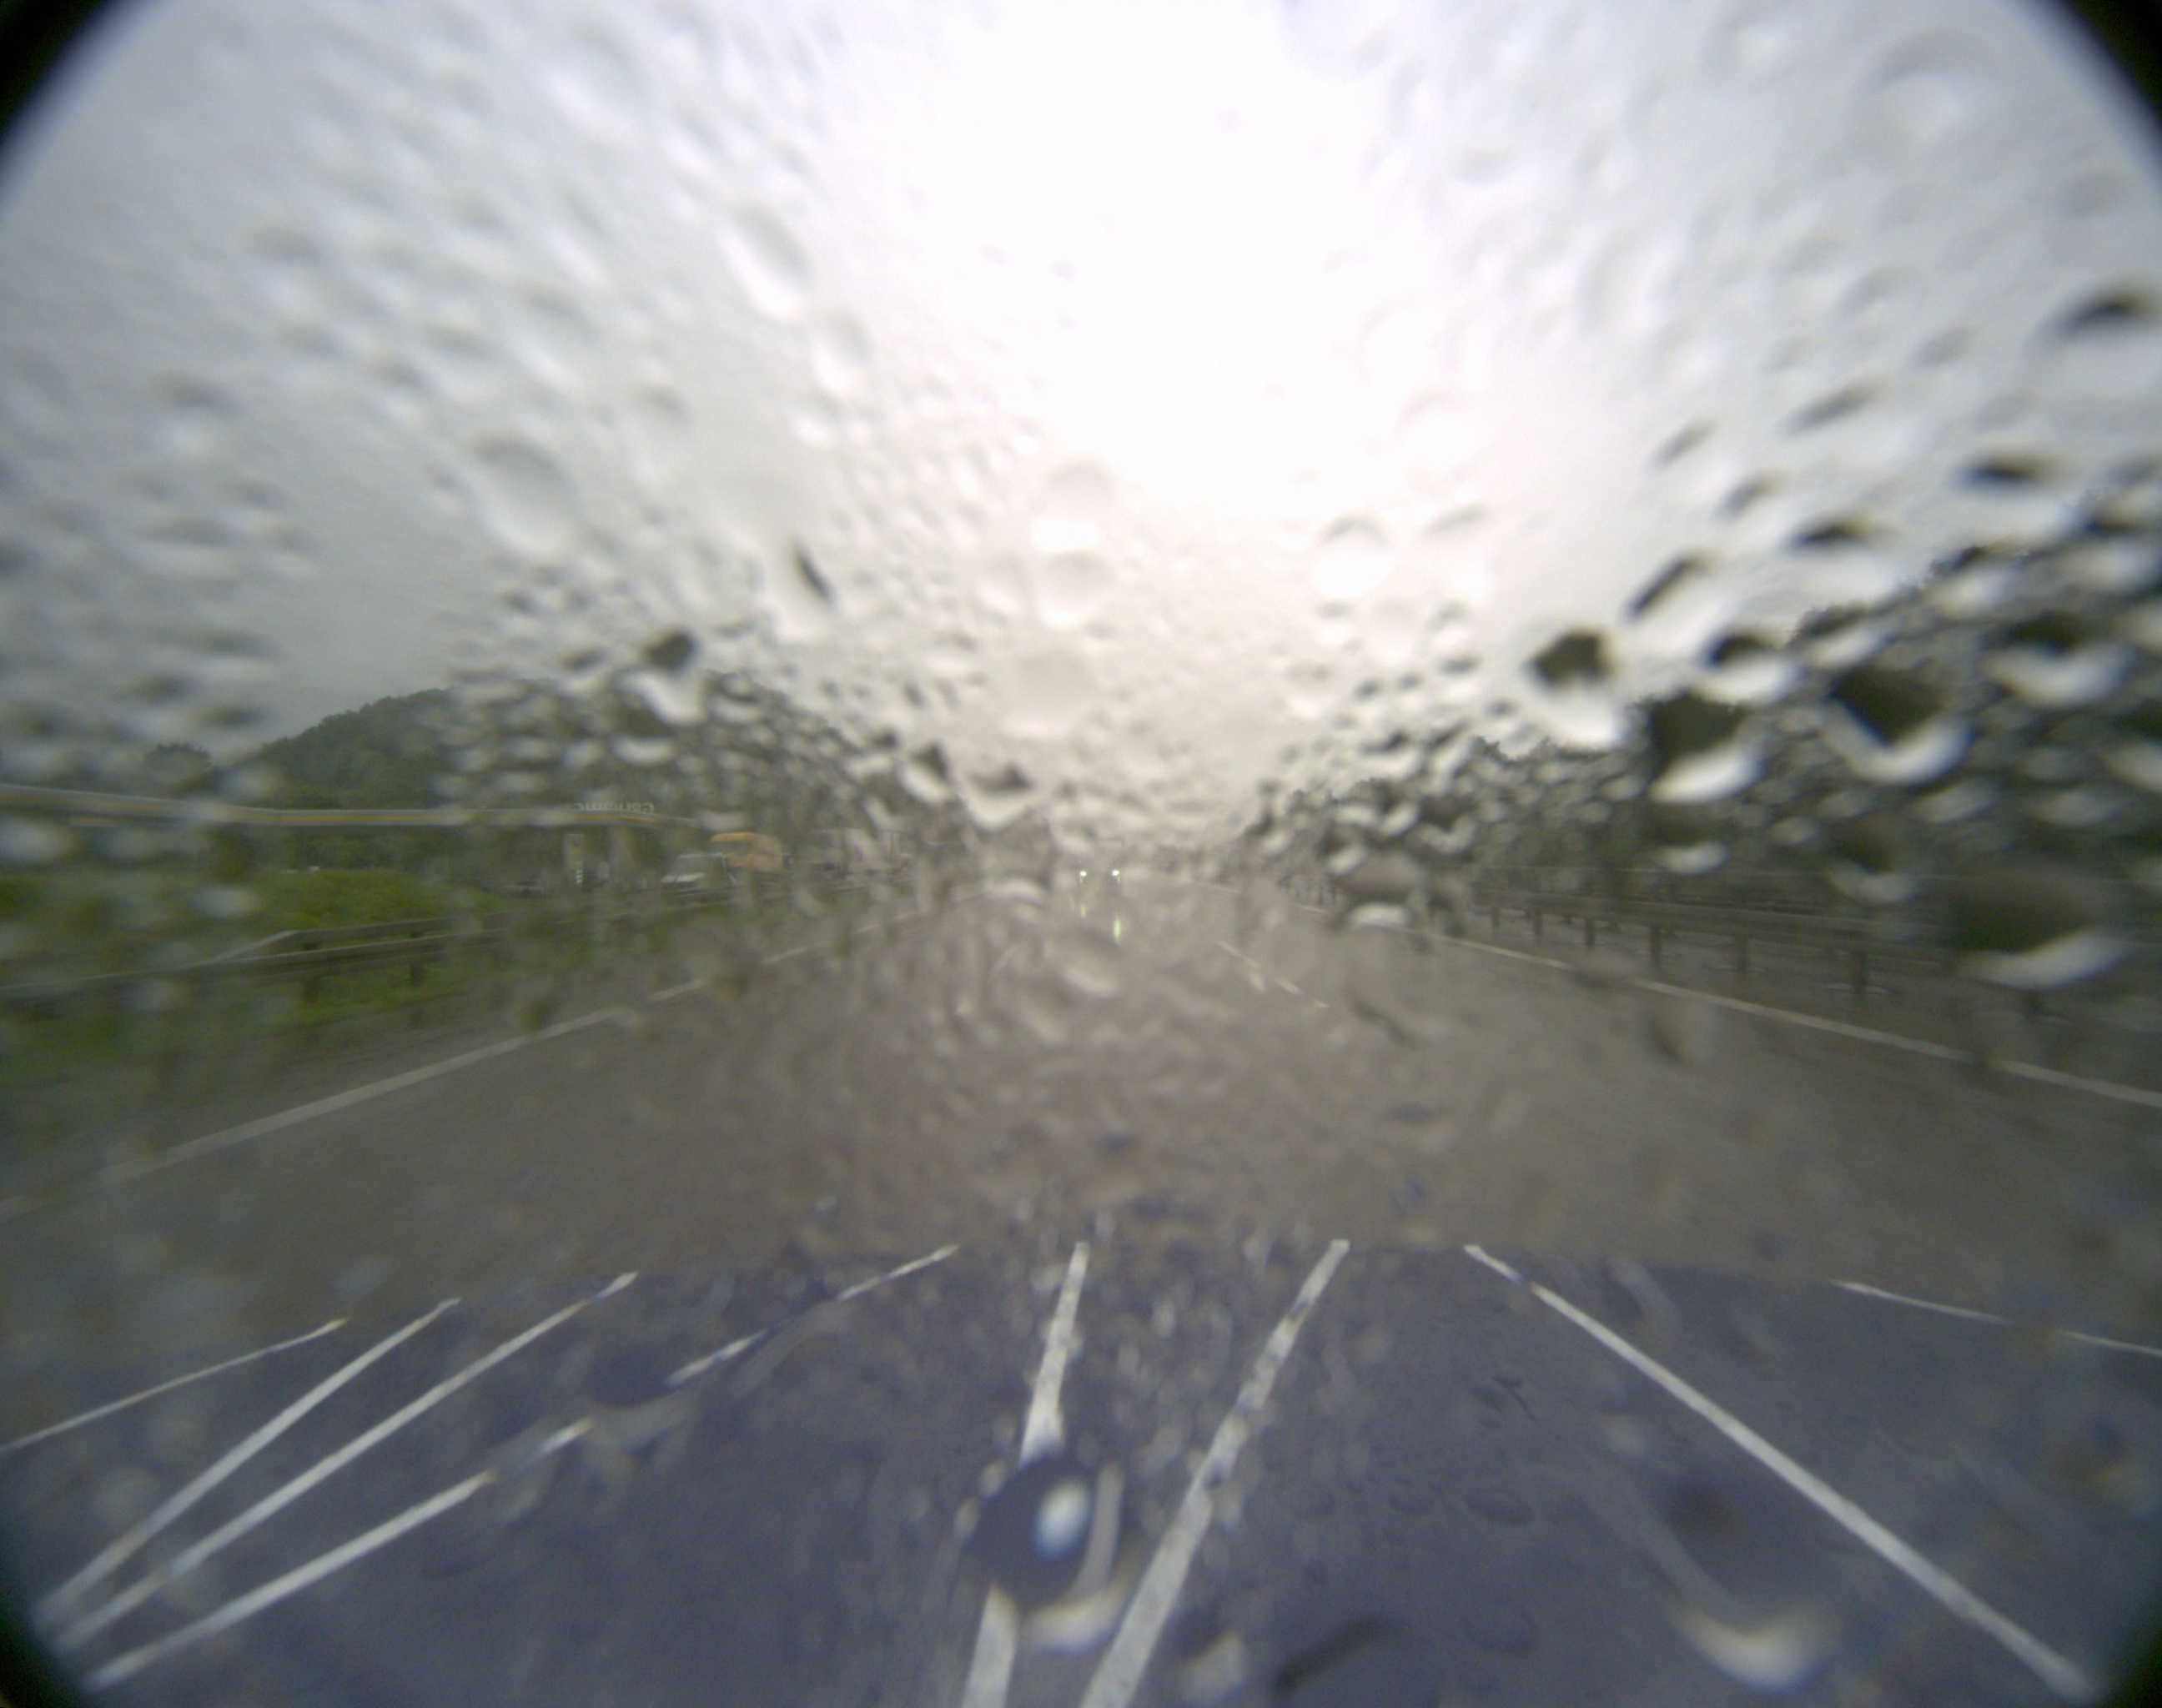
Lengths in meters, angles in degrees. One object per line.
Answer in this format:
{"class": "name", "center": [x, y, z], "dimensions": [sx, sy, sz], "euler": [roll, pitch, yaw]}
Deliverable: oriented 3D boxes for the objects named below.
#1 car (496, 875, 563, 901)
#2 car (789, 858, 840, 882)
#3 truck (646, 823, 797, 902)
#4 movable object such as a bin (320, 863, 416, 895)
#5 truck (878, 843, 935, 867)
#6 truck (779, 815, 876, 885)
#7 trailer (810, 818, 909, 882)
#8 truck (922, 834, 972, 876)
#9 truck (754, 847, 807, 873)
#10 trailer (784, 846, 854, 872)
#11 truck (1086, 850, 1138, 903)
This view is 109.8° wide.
{"class": "car", "center": [-42.309, 2.605, 58.429], "dimensions": [1.998, 1.688, 4.098], "euler": [-2, 1, 3]}
{"class": "car", "center": [-21.738, 1.284, 62.156], "dimensions": [1.998, 1.740, 5.662], "euler": [-2, 1, 1]}
{"class": "truck", "center": [-16.338, 0.321, 35.429], "dimensions": [2.296, 3.129, 8.864], "euler": [-2, 1, 3]}
{"class": "movable object such as a bin", "center": [-55.580, 1.927, 59.414], "dimensions": [1.998, 2.176, 5.724], "euler": [-2, 1, 0]}
{"class": "truck", "center": [-33.375, 0.092, 145.850], "dimensions": [2.872, 4.232, 11.893], "euler": [-2, 1, 33]}
{"class": "truck", "center": [-16.675, -0.266, 50.744], "dimensions": [3.536, 4.195, 7.816], "euler": [-2, 1, 1]}
{"class": "trailer", "center": [-16.472, -0.295, 57.923], "dimensions": [3.525, 4.237, 11.920], "euler": [-2, 1, 2]}
{"class": "truck", "center": [-15.424, 0.131, 88.260], "dimensions": [3.409, 4.376, 11.049], "euler": [-3, 0, 1]}
{"class": "truck", "center": [-48.593, 0.983, 123.142], "dimensions": [2.750, 3.844, 7.548], "euler": [-2, 1, 35]}
{"class": "trailer", "center": [-44.349, 0.762, 129.147], "dimensions": [2.786, 3.878, 11.772], "euler": [-2, 1, 35]}
{"class": "truck", "center": [1.238, 0.845, 33.021], "dimensions": [1.998, 2.002, 7.575], "euler": [-1, 0, 1]}
